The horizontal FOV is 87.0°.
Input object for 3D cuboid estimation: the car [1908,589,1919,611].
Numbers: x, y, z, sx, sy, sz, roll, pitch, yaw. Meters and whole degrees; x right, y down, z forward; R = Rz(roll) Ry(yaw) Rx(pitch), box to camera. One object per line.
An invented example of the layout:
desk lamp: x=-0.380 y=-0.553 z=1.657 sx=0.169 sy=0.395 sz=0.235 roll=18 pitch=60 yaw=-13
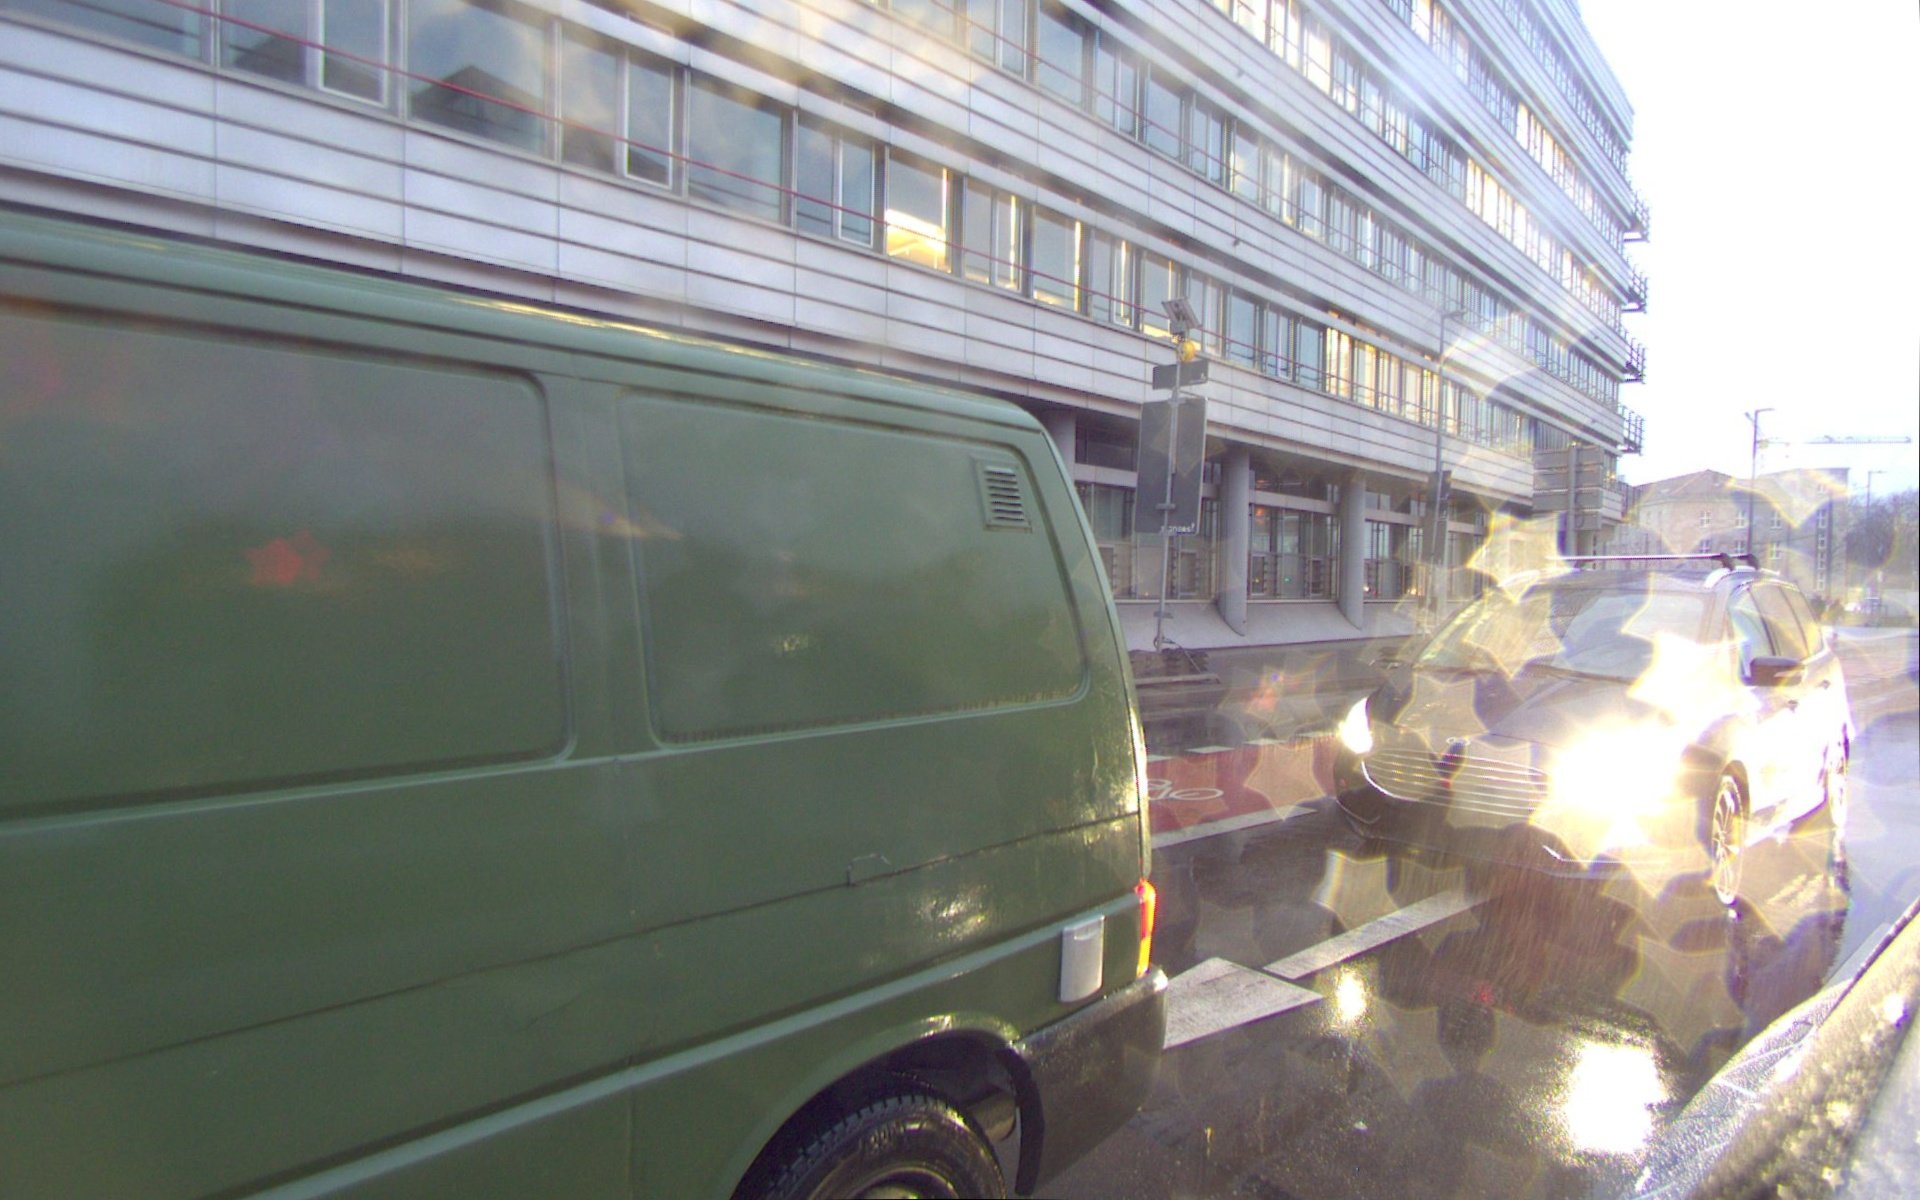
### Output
car: x=76.595 y=0.072 z=78.593 sx=1.743 sy=1.730 sz=3.932 roll=0 pitch=1 yaw=-26

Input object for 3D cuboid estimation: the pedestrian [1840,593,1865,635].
pedestrian: x=36.370 y=0.559 z=41.232 sx=0.870 sy=1.689 sz=0.615 roll=0 pitch=3 yaw=-44

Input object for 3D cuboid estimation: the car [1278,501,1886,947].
car: x=4.128 y=0.500 z=6.362 sx=4.587 sy=1.834 sz=1.887 roll=0 pitch=0 yaw=-39

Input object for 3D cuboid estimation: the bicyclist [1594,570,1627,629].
bicyclist: x=20.625 y=-0.025 z=32.098 sx=0.793 sy=1.820 sz=0.670 roll=0 pitch=2 yaw=-45

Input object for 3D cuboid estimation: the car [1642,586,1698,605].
car: x=68.617 y=-0.463 z=97.867 sx=1.958 sy=1.693 sz=4.013 roll=0 pitch=1 yaw=-24

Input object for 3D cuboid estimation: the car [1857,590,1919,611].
car: x=85.163 y=0.007 z=92.912 sx=1.756 sy=1.829 sz=3.742 roll=1 pitch=1 yaw=-20

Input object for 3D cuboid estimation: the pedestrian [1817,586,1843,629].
pedestrian: x=35.882 y=0.292 z=41.728 sx=0.870 sy=1.723 sz=0.650 roll=0 pitch=3 yaw=-44

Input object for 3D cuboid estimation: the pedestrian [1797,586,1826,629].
pedestrian: x=35.911 y=0.317 z=42.693 sx=0.953 sy=1.722 sz=0.746 roll=0 pitch=4 yaw=-44

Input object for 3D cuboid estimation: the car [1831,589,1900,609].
car: x=74.297 y=-0.108 z=83.083 sx=1.743 sy=1.556 sz=3.775 roll=1 pitch=2 yaw=-24

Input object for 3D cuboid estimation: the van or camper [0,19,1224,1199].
van or camper: x=-1.665 y=0.455 z=1.320 sx=4.341 sy=1.931 sz=1.760 roll=0 pitch=0 yaw=-41

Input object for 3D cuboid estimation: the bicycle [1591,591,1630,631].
bicycle: x=20.667 y=0.337 z=32.157 sx=0.680 sy=1.213 sz=1.733 roll=1 pitch=1 yaw=45

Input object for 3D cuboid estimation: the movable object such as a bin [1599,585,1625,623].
movable object such as a bin: x=26.080 y=0.164 z=40.480 sx=0.826 sy=1.495 sz=0.665 roll=0 pitch=1 yaw=-44

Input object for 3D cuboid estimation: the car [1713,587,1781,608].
car: x=71.070 y=-0.244 z=91.432 sx=1.958 sy=1.782 sz=4.386 roll=0 pitch=1 yaw=-24
